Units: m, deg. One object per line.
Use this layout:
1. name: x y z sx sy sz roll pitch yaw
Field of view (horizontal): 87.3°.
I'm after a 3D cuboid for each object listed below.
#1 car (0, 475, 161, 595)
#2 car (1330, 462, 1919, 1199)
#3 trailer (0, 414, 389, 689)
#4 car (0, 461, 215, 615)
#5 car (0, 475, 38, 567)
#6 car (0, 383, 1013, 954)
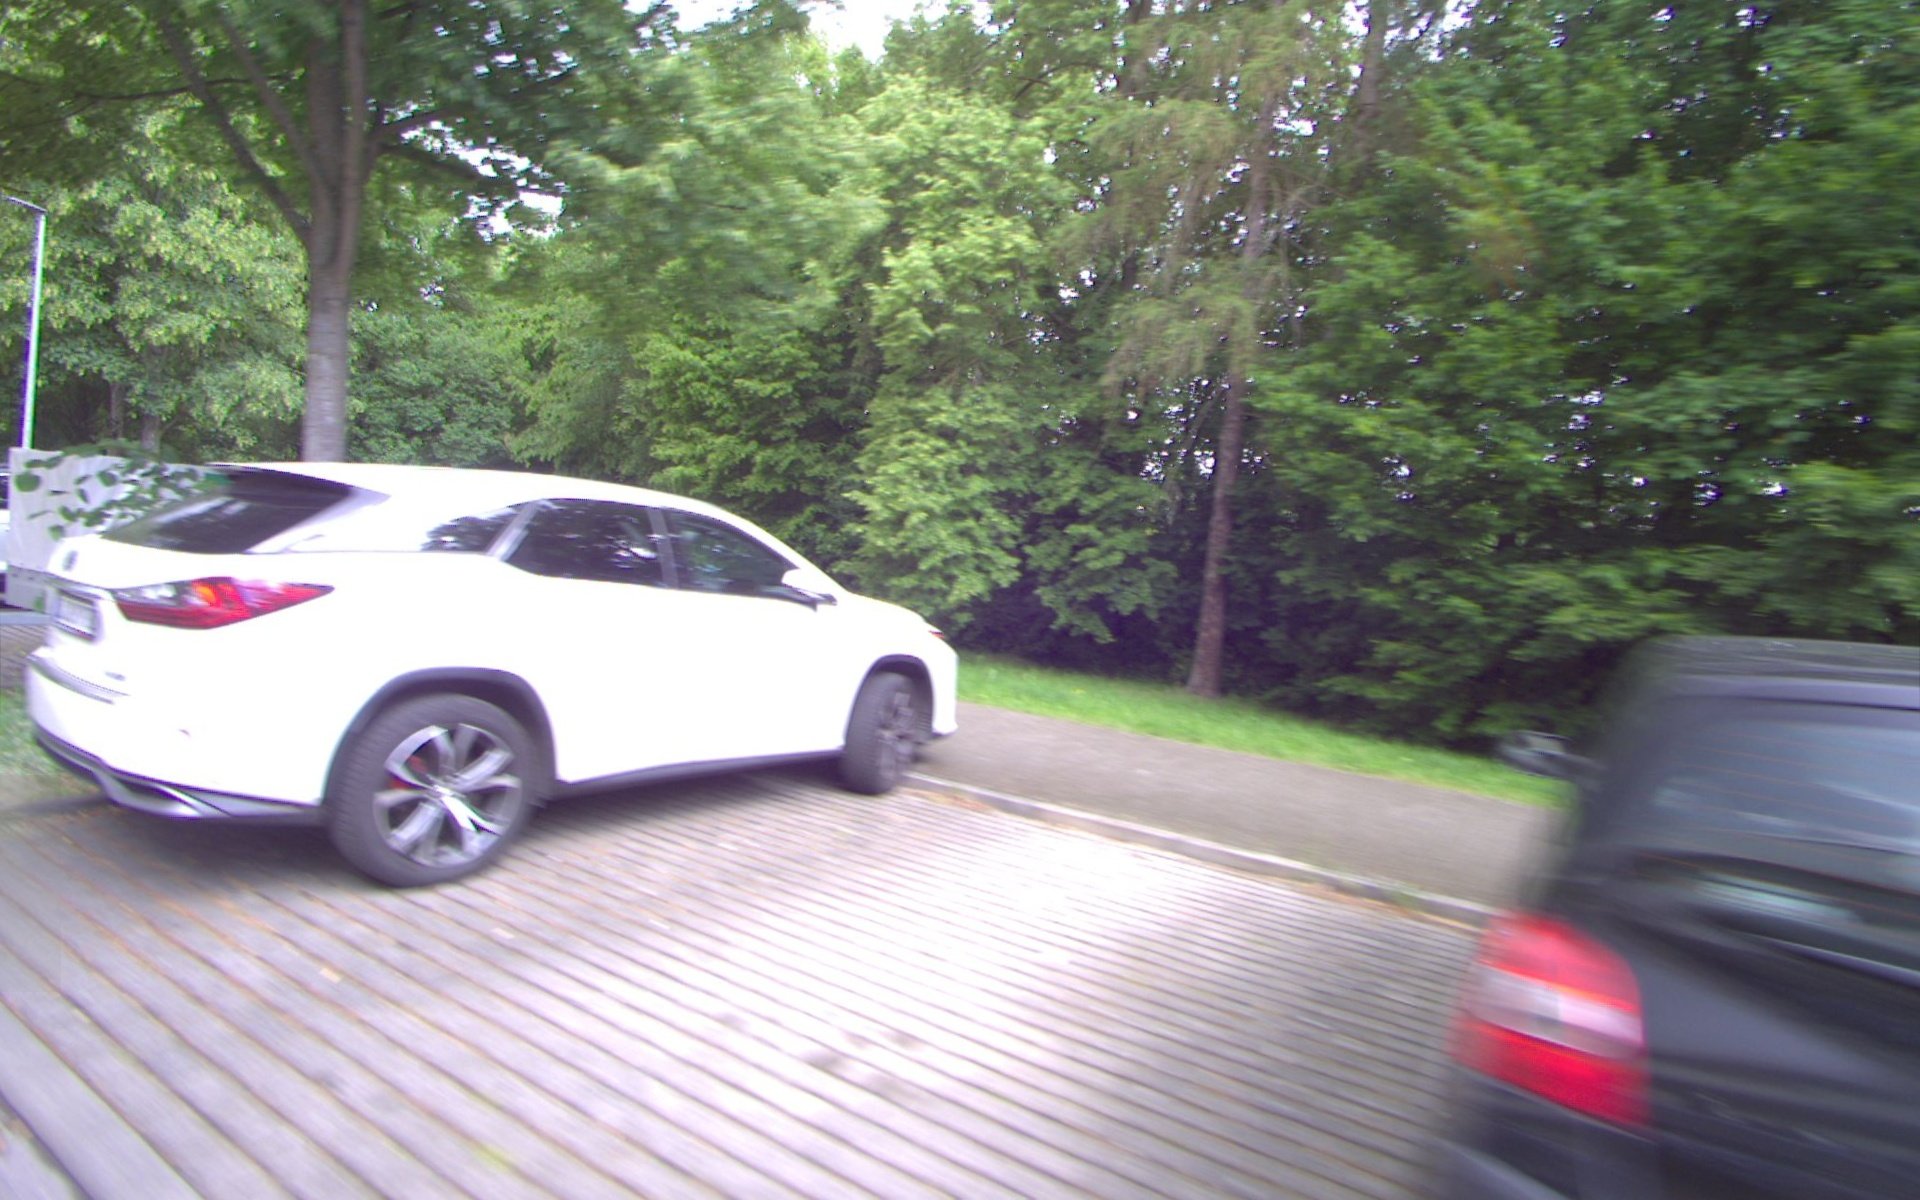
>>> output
1. car: -12.632 -0.886 12.367 1.761 1.441 4.012 6 2 27
2. car: 2.468 0.762 2.695 1.821 1.591 4.158 6 1 34
3. trailer: -6.485 -0.364 7.929 1.537 1.815 3.031 6 2 29
4. car: -10.704 -0.723 10.655 1.829 1.569 4.114 6 2 29
5. car: -16.805 -1.371 15.073 1.786 1.441 4.054 6 2 31
6. car: -1.869 0.192 5.538 1.943 1.716 4.813 6 2 35
